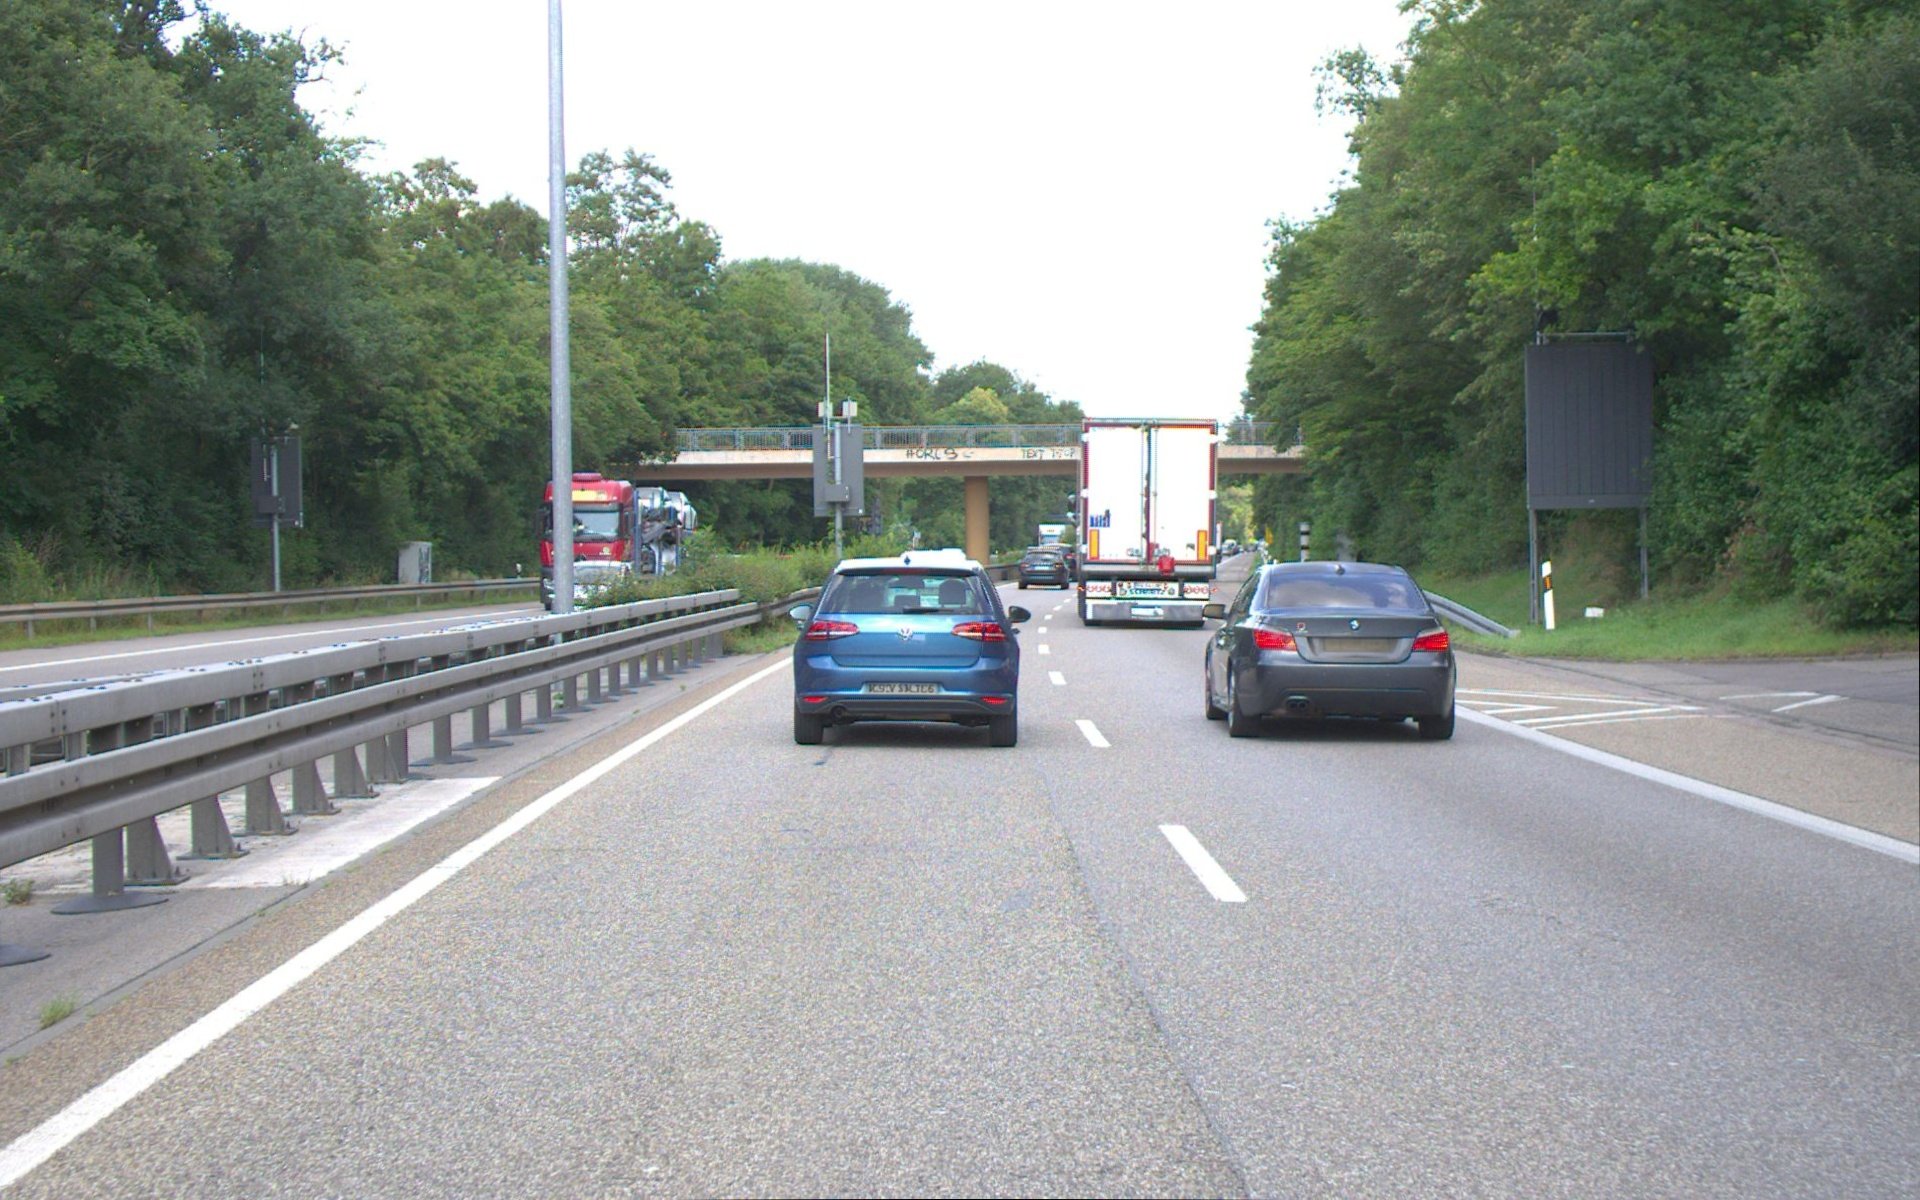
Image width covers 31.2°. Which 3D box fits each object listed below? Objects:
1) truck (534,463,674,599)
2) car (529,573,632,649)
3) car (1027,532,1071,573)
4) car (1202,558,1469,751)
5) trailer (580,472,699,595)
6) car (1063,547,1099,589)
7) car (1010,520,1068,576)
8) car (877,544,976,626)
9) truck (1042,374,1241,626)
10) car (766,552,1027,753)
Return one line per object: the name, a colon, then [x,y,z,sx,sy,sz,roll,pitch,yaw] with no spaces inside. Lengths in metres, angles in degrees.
truck: [-10.622,-2.055,103.565,2.955,3.842,10.324,-1,1,1]
car: [-8.280,0.218,75.279,1.706,1.563,4.032,-1,1,2]
car: [3.954,-2.122,152.652,1.766,1.766,4.023,-1,1,4]
car: [3.123,0.395,29.446,1.774,1.470,4.880,1,1,0]
trailer: [-10.525,-2.171,113.883,2.938,3.820,10.311,-1,1,0]
car: [6.861,-1.813,194.843,1.994,2.319,4.442,-1,1,3]
car: [2.955,-1.925,127.445,1.954,2.007,4.000,-1,1,4]
car: [-0.607,-0.310,65.797,1.665,1.495,4.152,0,1,3]
truck: [3.553,-1.992,70.281,3.242,4.700,11.007,-1,1,-1]
car: [-0.437,0.365,27.640,1.705,1.465,3.999,1,1,5]
